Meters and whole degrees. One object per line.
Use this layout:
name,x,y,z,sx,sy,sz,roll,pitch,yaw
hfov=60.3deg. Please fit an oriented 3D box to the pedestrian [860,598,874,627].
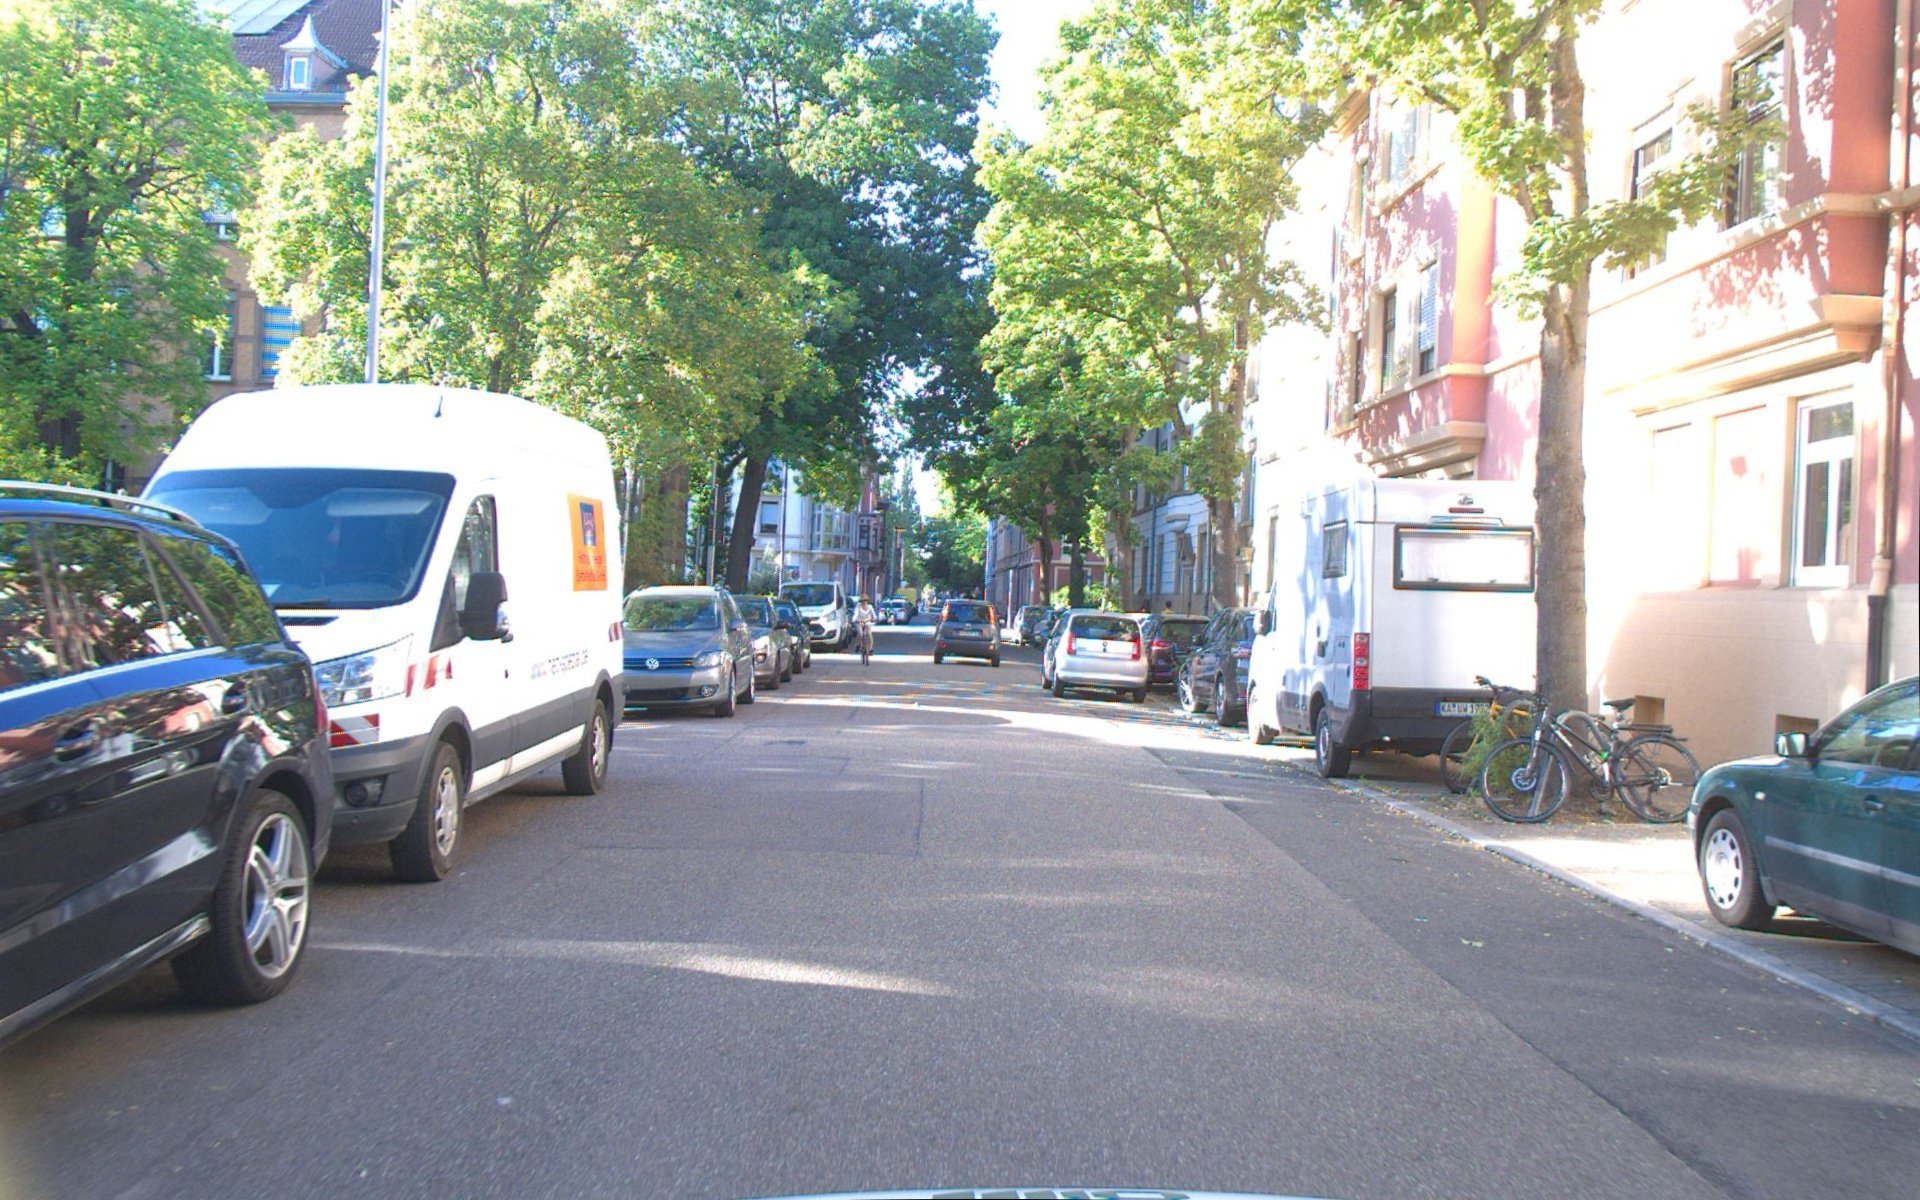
pedestrian,-6.167,0.807,109.815,0.707,1.871,0.627,3,0,10

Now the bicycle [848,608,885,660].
bicycle,-2.089,0.746,37.178,0.651,1.096,1.685,3,0,1

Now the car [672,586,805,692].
car,-3.579,0.586,27.364,1.642,1.600,4.151,-1,0,0

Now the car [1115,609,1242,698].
car,4.285,1.010,33.031,1.751,1.540,4.458,3,0,-2

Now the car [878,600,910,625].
car,-3.976,0.756,100.651,1.760,1.457,3.924,-1,0,0

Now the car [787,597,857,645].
car,-4.423,0.664,53.692,1.960,1.483,4.605,0,0,-1

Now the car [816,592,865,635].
car,-4.577,0.505,63.987,1.788,1.581,4.130,-1,0,-3

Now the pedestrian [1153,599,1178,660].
pedestrian,5.952,0.848,47.917,0.583,1.731,0.689,3,0,0

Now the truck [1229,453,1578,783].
truck,4.572,0.151,18.227,2.032,3.020,6.107,0,0,-2

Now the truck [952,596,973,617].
truck,0.263,0.676,167.060,1.953,2.026,3.999,2,0,-1

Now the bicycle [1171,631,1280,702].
bicycle,4.570,1.142,28.495,1.774,1.187,0.569,0,0,-2

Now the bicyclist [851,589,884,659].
bicyclist,-2.076,0.530,37.200,0.638,1.535,0.625,3,0,1

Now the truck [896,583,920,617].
truck,-4.804,-0.002,153.254,2.028,2.977,5.067,-1,0,0

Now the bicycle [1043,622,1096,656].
bicycle,3.803,1.351,57.599,1.734,1.057,0.606,3,0,-1

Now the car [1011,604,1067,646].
car,3.186,0.990,67.717,1.753,1.578,4.406,3,0,-4

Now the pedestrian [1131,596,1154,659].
pedestrian,5.300,0.794,48.046,0.509,1.765,0.878,3,0,0

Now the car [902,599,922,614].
car,-4.893,0.676,168.515,1.921,1.505,3.924,-1,0,0

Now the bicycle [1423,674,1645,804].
bicycle,5.018,1.212,14.502,1.670,1.017,0.705,3,0,-8

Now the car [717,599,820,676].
car,-3.818,0.714,33.657,1.679,1.420,4.777,-1,0,-2

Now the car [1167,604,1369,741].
car,4.446,0.976,24.632,1.848,1.746,4.942,2,0,-2

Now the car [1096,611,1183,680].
car,4.209,1.038,39.252,1.564,1.514,3.747,2,0,-1

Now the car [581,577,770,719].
car,-3.508,0.544,21.161,1.744,1.618,4.467,0,0,-1

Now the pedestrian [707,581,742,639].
pedestrian,-6.780,0.295,47.670,0.863,1.604,0.529,3,0,0

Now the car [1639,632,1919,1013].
car,4.924,0.988,7.484,1.715,1.556,4.781,2,0,0

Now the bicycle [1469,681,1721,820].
bicycle,5.032,1.186,13.163,1.749,0.965,0.579,3,0,0

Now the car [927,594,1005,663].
car,0.108,0.659,40.077,1.601,1.577,3.261,1,0,-5

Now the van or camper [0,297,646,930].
van or camper,-3.514,0.060,10.315,2.085,2.817,5.850,0,0,-1

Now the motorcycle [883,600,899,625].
motorcycle,-4.055,0.728,97.352,0.684,1.486,1.747,1,0,-10

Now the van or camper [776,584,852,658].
van or camper,-4.186,0.577,48.181,1.883,2.014,5.459,-1,0,-2

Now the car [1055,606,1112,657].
car,4.007,1.010,54.081,1.489,1.537,3.543,2,0,-1

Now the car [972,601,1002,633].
car,1.592,0.993,98.306,1.629,1.698,3.757,4,0,0

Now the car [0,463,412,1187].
car,-3.205,0.525,4.552,1.837,1.715,4.968,0,0,-2

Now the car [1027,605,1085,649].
car,3.567,0.988,62.169,1.579,1.504,3.866,2,0,-5

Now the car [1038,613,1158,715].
car,2.409,1.095,29.666,1.645,1.571,3.799,3,0,-2
